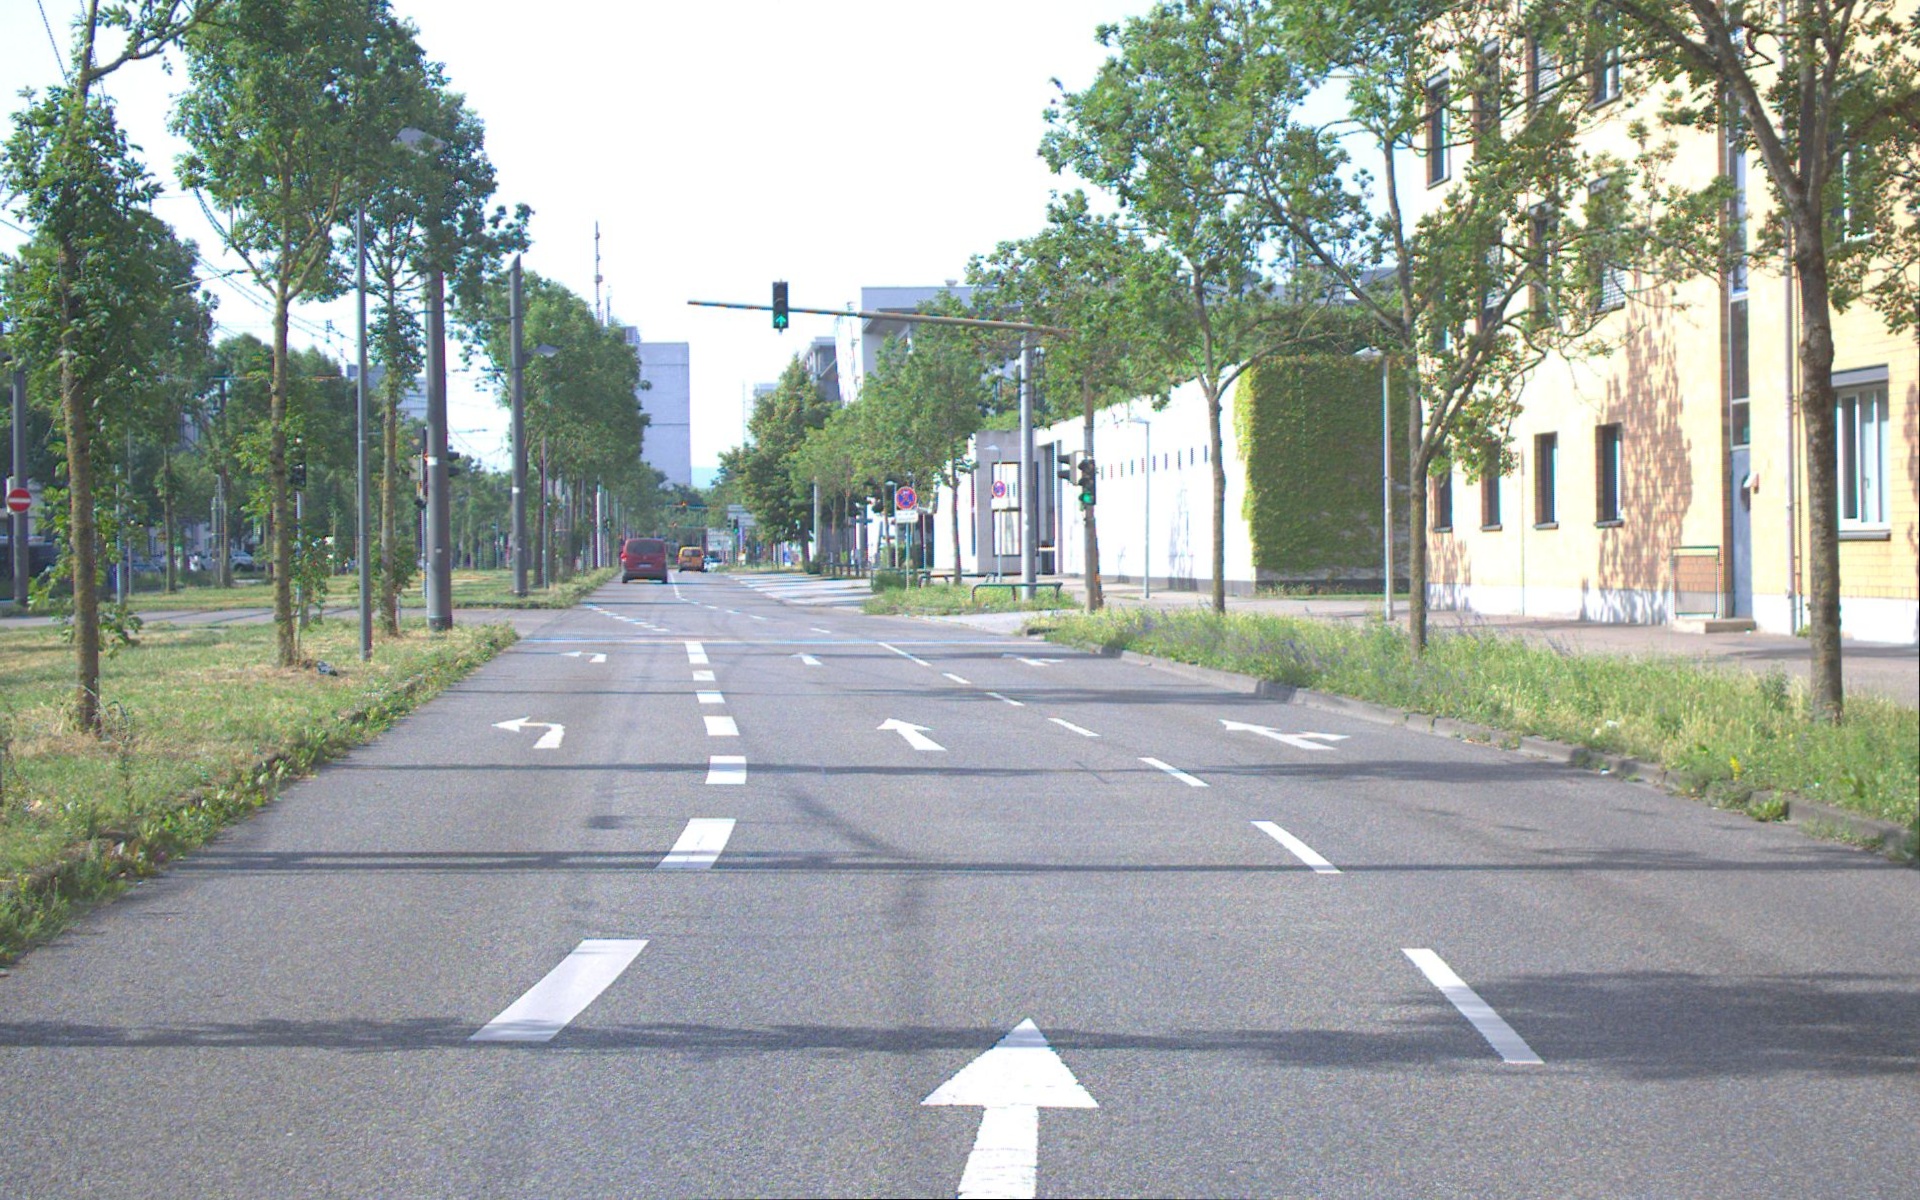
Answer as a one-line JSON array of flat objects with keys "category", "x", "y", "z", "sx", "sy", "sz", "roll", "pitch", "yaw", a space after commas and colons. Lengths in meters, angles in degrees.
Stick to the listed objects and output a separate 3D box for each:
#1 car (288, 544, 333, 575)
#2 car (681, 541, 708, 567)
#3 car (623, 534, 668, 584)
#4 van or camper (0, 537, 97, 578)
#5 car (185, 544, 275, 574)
[{"category": "car", "x": -38.920, "y": -2.417, "z": 206.029, "sx": 1.965, "sy": 1.688, "sz": 4.298, "roll": 2, "pitch": 2, "yaw": -1}, {"category": "car", "x": -17.443, "y": -3.003, "z": 226.042, "sx": 1.748, "sy": 1.645, "sz": 3.216, "roll": 1, "pitch": 0, "yaw": -4}, {"category": "car", "x": -13.012, "y": -1.700, "z": 142.247, "sx": 1.748, "sy": 2.007, "sz": 3.216, "roll": 1, "pitch": 0, "yaw": -4}, {"category": "van or camper", "x": -39.398, "y": -1.829, "z": 146.747, "sx": 4.842, "sy": 1.618, "sz": 1.999, "roll": 2, "pitch": 0, "yaw": 28}, {"category": "car", "x": -44.814, "y": -2.511, "z": 211.020, "sx": 5.318, "sy": 1.732, "sz": 1.997, "roll": 2, "pitch": 0, "yaw": 29}]
